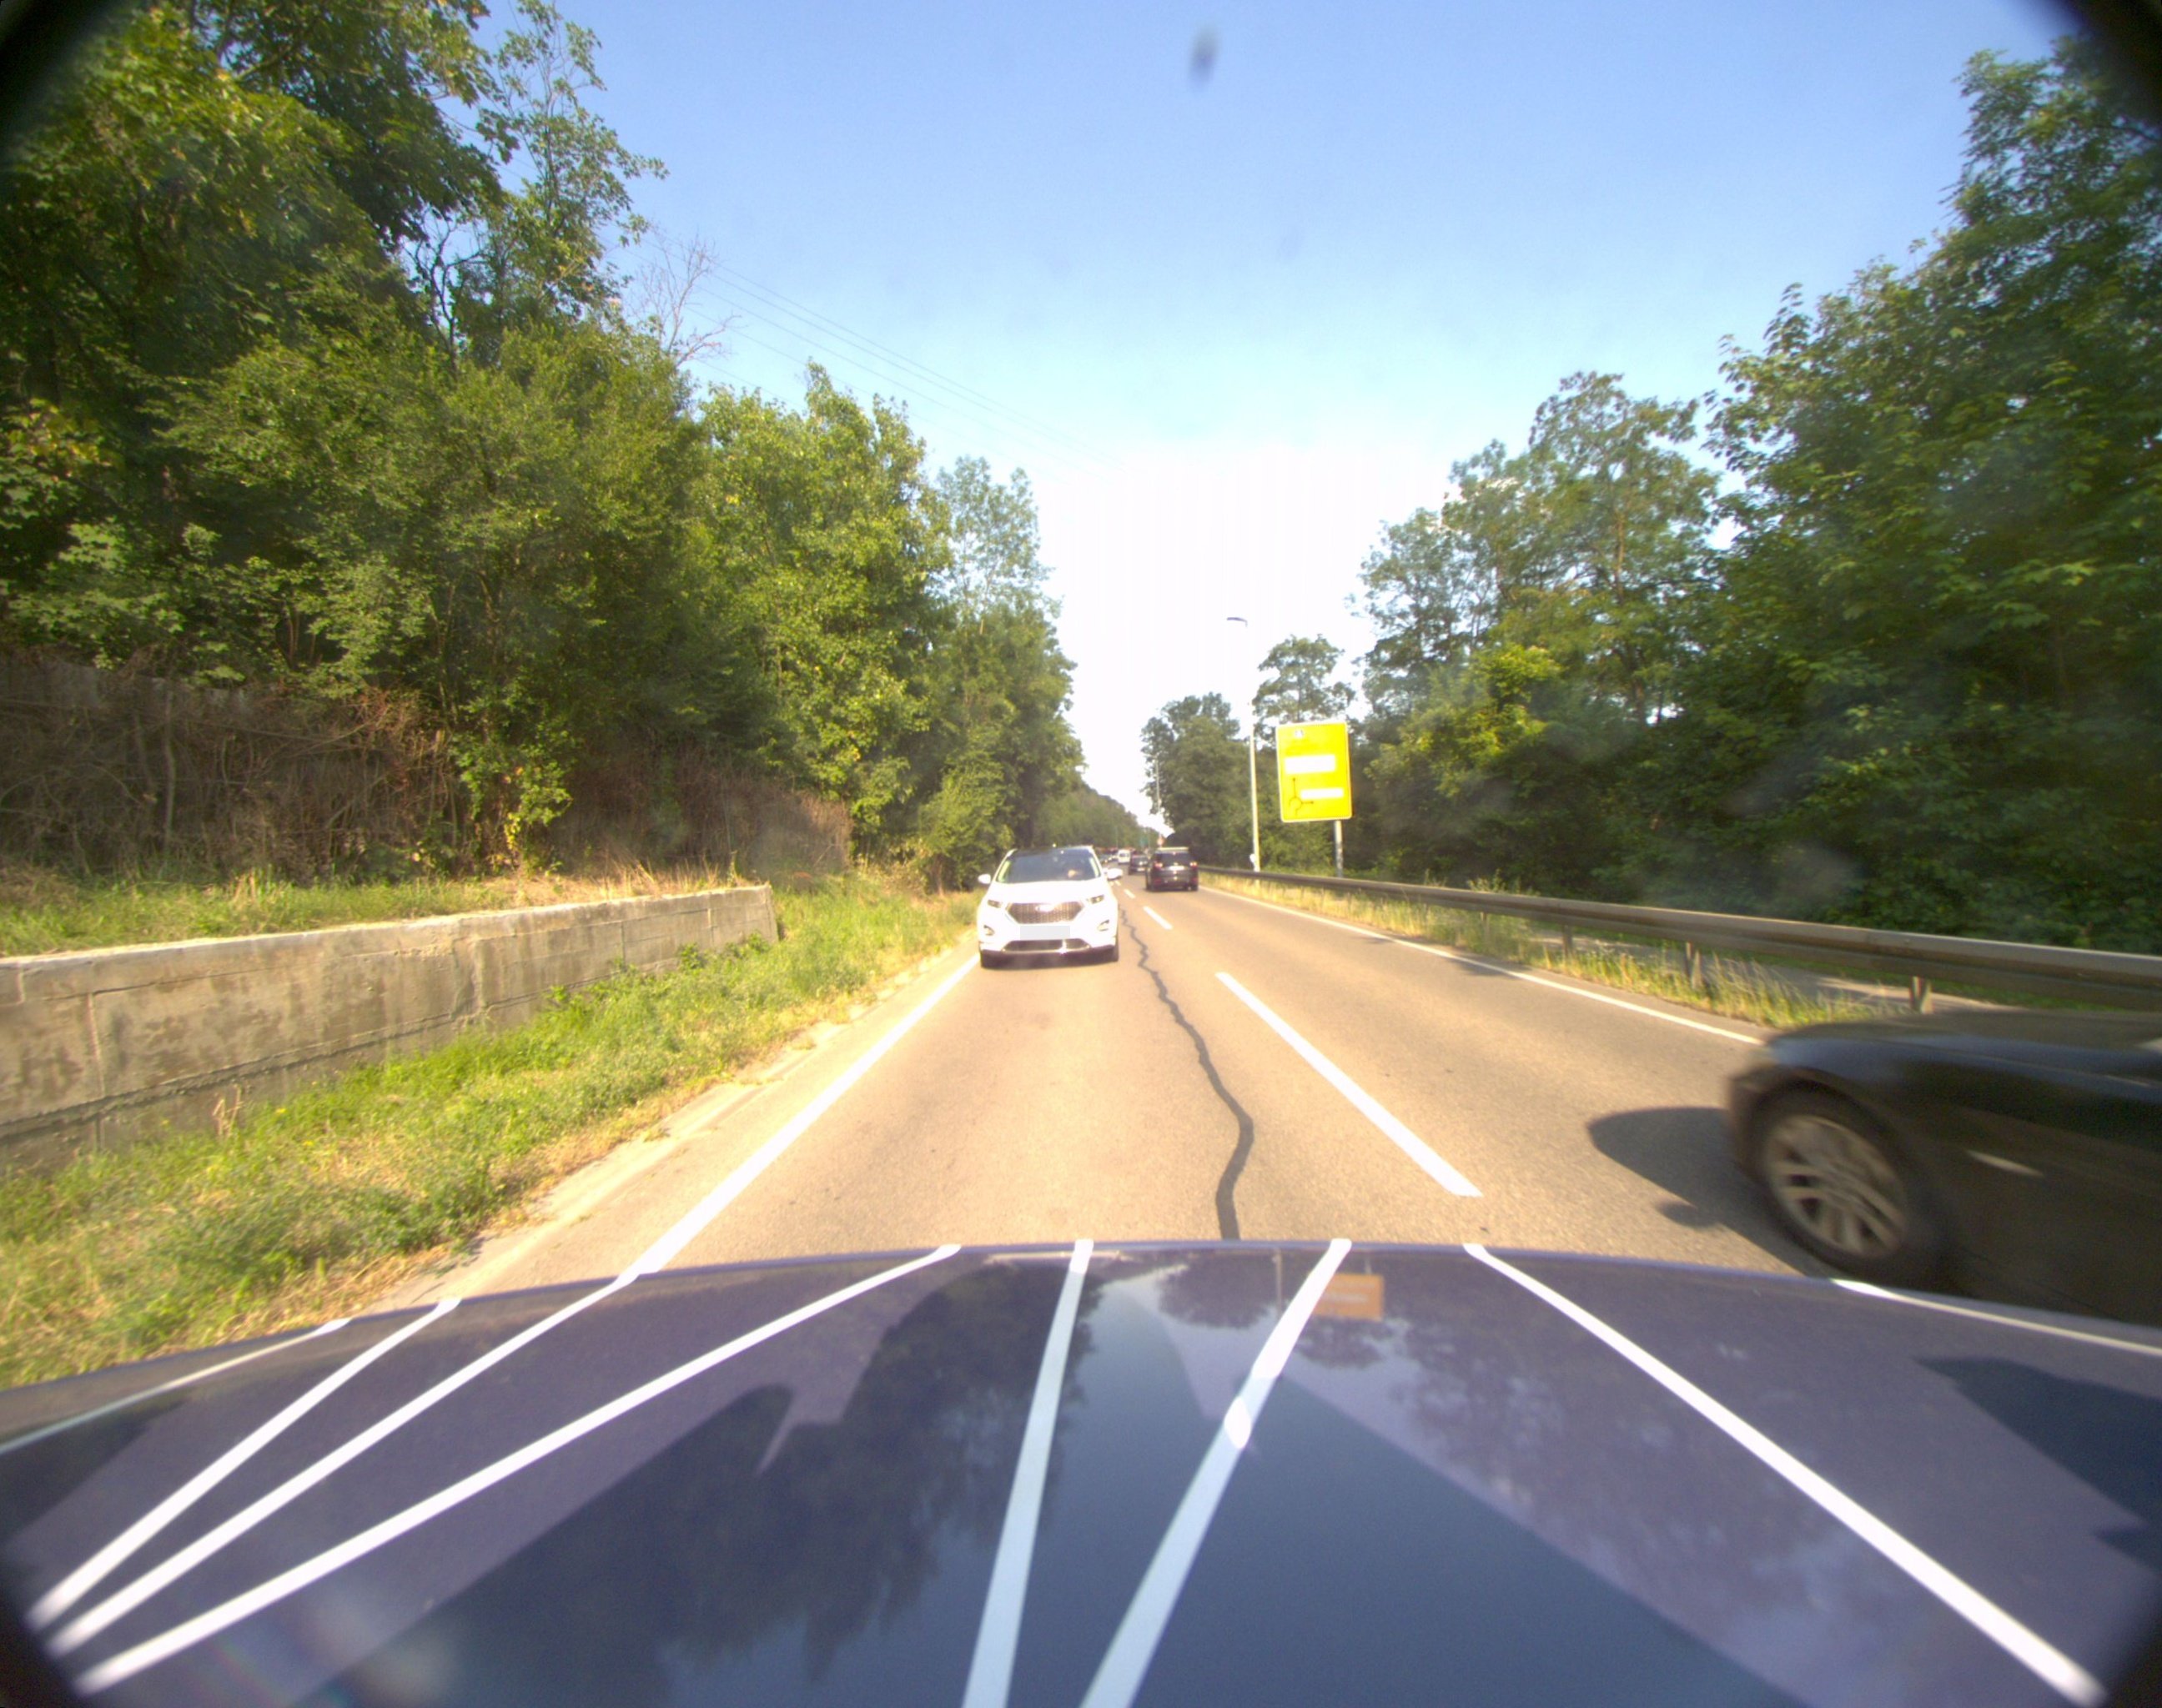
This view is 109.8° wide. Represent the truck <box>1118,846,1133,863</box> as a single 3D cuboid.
[{"bbox_3d":[6.944,0.033,118.951,2.062,2.371,5.874,-3,1,5],"label":"truck"}]

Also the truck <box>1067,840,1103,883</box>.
[{"bbox_3d":[0.272,0.438,45.202,1.894,2.334,5.273,-3,0,1],"label":"truck"}]

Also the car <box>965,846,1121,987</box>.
[{"bbox_3d":[-0.450,0.790,11.723,1.894,1.691,4.136,-3,0,1],"label":"car"}]

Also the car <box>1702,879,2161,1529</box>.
[{"bbox_3d":[3.302,0.824,0.935,1.696,1.412,4.141,-1,0,0],"label":"car"}]

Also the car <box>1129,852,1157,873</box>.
[{"bbox_3d":[4.541,0.621,56.288,1.686,1.434,3.999,-2,1,0],"label":"car"}]

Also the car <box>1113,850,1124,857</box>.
[{"bbox_3d":[8.437,-0.087,171.823,1.997,1.647,4.002,-1,0,8],"label":"car"}]

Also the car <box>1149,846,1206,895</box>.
[{"bbox_3d":[3.655,0.591,29.506,1.752,1.707,4.221,-2,0,2],"label":"car"}]

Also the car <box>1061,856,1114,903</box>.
[{"bbox_3d":[0.262,0.854,27.414,1.704,1.477,4.136,-3,0,1],"label":"car"}]
